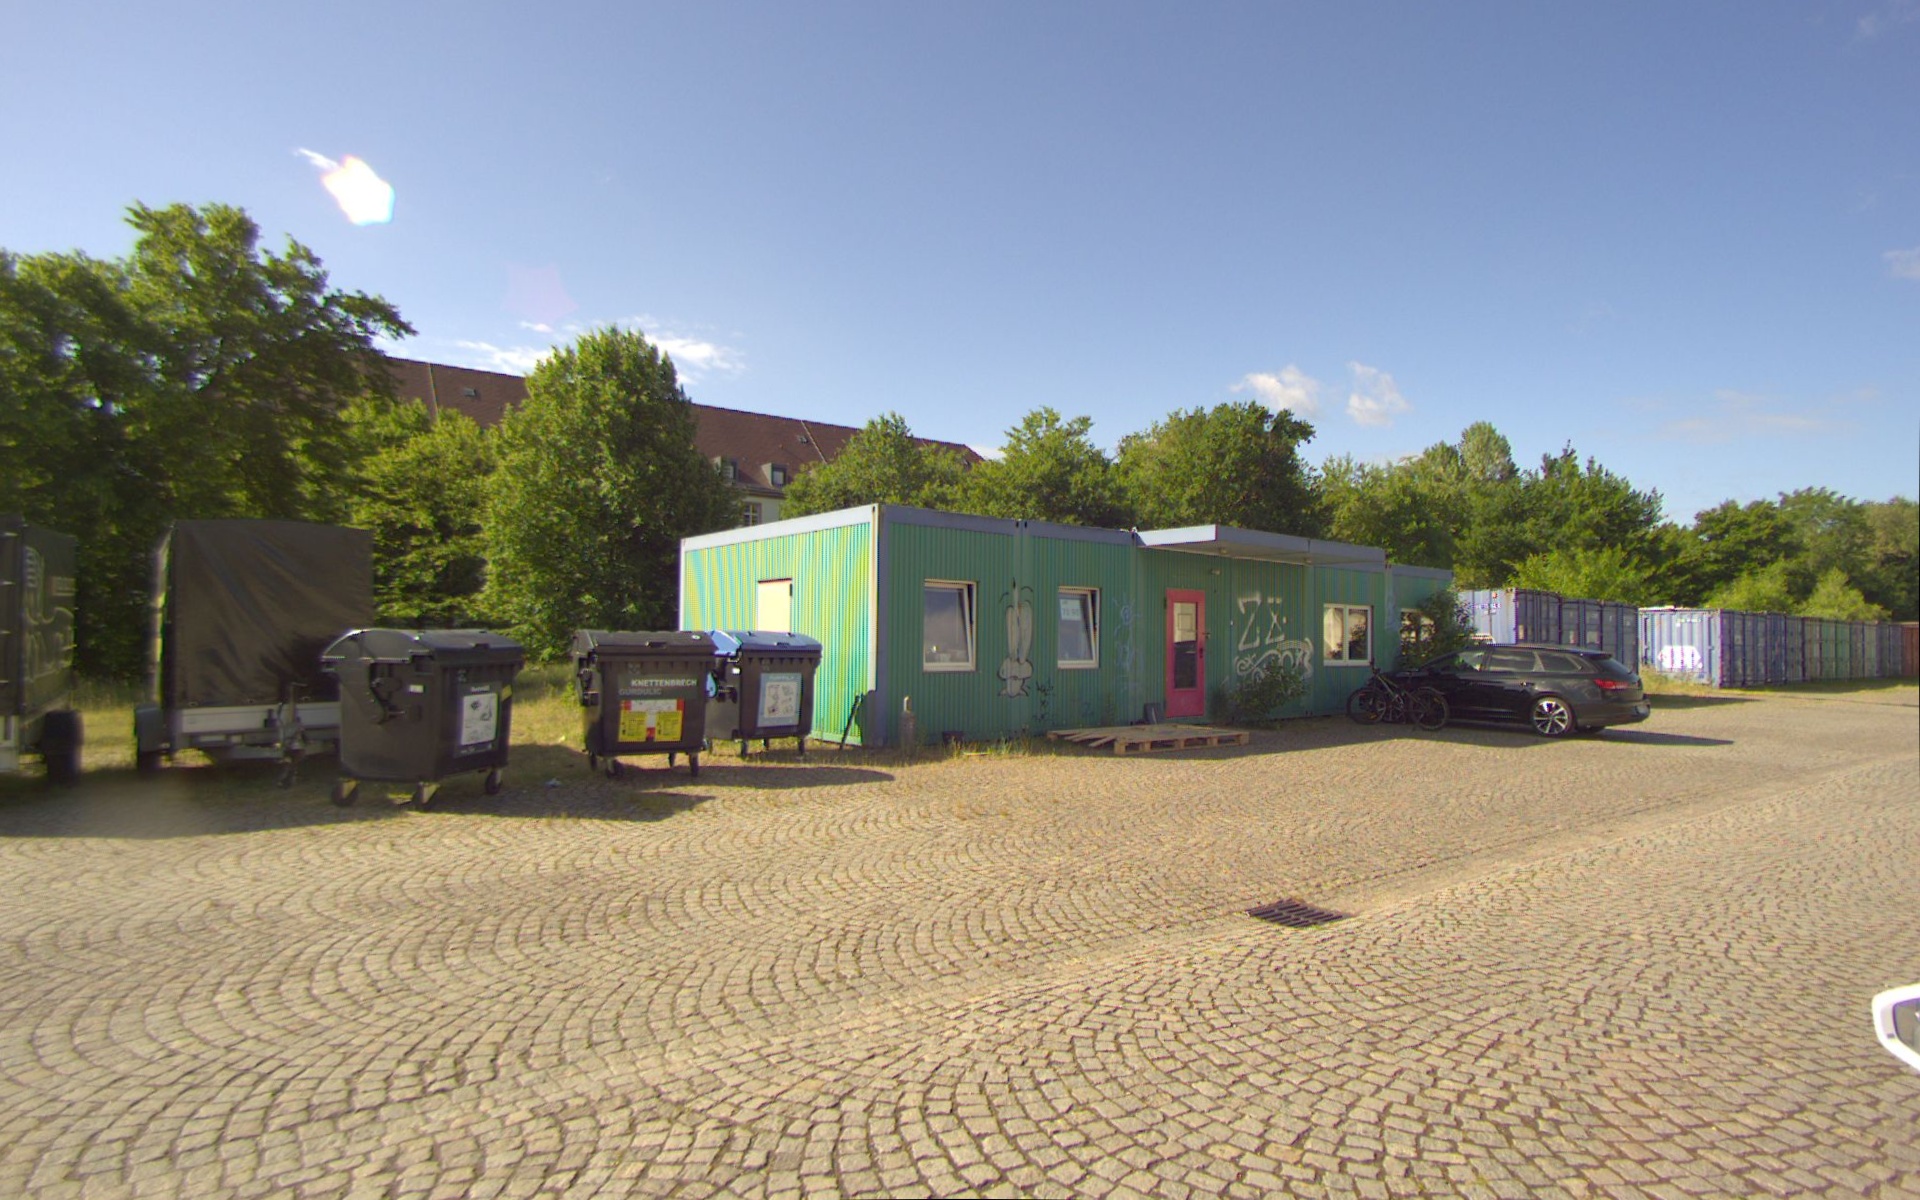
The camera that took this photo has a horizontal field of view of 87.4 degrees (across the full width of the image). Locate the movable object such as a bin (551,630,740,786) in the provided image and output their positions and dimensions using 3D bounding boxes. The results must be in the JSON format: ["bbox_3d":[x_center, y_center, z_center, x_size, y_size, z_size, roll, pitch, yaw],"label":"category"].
[{"bbox_3d":[-3.223,1.042,10.286,1.521,1.441,1.288,2,-3,-35],"label":"movable object such as a bin"}]

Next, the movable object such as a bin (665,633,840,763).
[{"bbox_3d":[-2.461,1.108,11.954,1.366,1.404,1.528,-1,-3,42],"label":"movable object such as a bin"}]

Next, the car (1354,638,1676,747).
[{"bbox_3d":[9.250,1.452,17.044,1.983,1.484,4.379,2,-2,-39],"label":"car"}]

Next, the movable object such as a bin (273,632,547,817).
[{"bbox_3d":[-4.600,0.985,8.565,1.358,1.404,1.537,0,-2,10],"label":"movable object such as a bin"}]

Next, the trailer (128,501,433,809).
[{"bbox_3d":[-7.152,0.520,10.351,2.078,2.385,4.919,2,-3,-39],"label":"trailer"}]

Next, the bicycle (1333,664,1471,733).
[{"bbox_3d":[7.382,1.611,16.845,1.029,1.041,1.860,2,-3,-38],"label":"bicycle"}]

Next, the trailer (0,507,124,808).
[{"bbox_3d":[-9.384,0.486,9.242,2.116,2.328,4.626,2,-3,-35],"label":"trailer"}]
